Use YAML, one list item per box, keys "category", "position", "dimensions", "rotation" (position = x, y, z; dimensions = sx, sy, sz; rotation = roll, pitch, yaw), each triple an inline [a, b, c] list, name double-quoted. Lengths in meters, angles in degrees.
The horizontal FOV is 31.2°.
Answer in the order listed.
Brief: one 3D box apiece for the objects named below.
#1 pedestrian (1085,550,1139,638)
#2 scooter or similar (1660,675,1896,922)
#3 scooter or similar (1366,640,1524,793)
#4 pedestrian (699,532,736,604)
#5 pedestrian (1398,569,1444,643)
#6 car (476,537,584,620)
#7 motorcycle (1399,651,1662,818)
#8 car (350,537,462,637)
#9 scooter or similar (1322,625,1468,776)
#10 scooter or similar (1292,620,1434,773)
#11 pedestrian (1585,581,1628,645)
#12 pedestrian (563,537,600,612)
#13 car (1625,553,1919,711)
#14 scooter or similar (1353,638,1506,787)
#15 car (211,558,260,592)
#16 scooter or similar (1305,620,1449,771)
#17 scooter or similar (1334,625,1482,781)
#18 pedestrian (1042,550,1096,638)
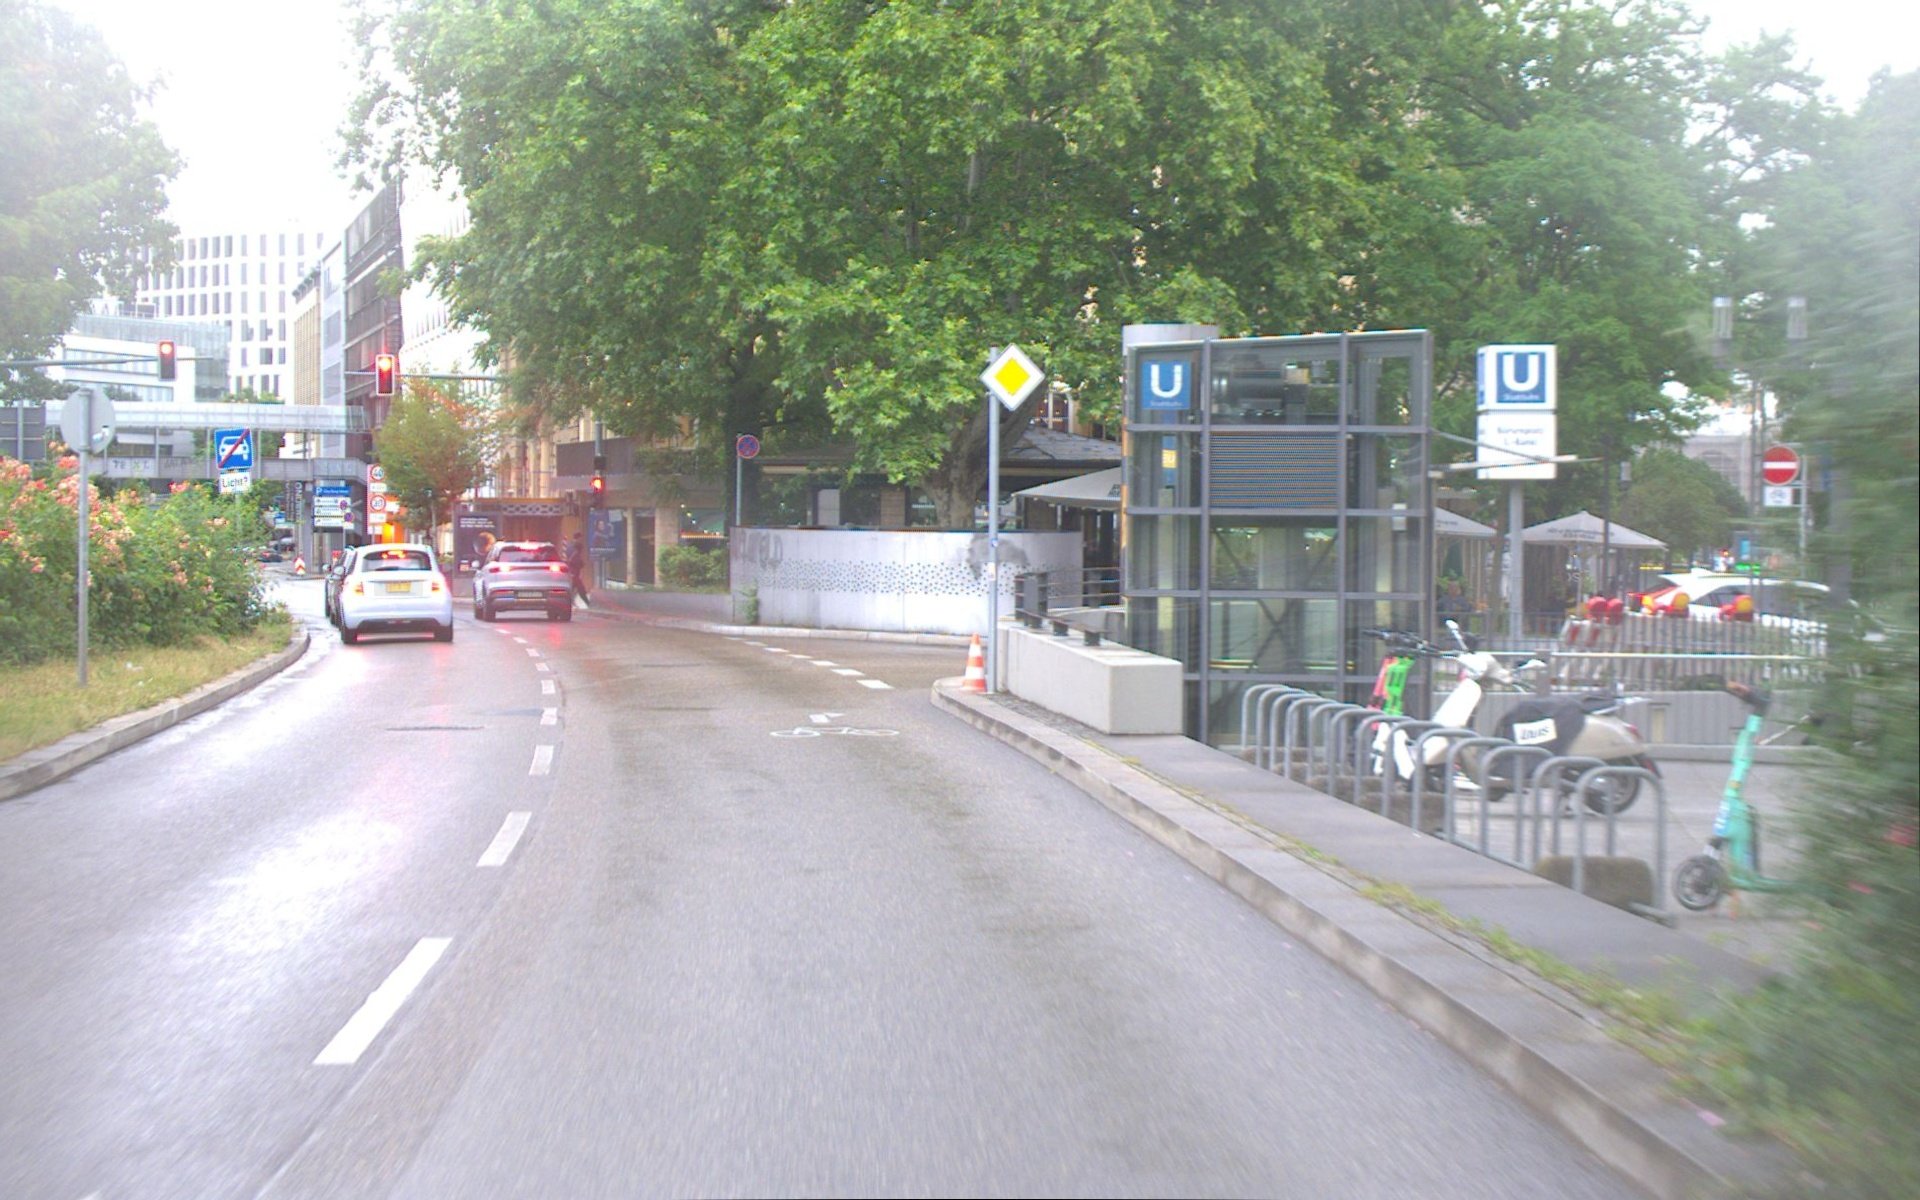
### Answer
- category: "pedestrian"
  position: [2.506, -0.102, 56.764]
  dimensions: [0.684, 1.405, 0.905]
  rotation: [3, 0, -6]
- category: "scooter or similar"
  position: [4.361, 1.053, 18.338]
  dimensions: [1.090, 1.267, 0.481]
  rotation: [1, 1, -16]
- category: "scooter or similar"
  position: [3.831, 0.918, 27.194]
  dimensions: [1.112, 1.154, 0.532]
  rotation: [1, 1, -6]
- category: "pedestrian"
  position: [-6.042, -0.786, 85.564]
  dimensions: [0.858, 1.774, 0.718]
  rotation: [0, 0, -8]
- category: "pedestrian"
  position: [9.068, 0.116, 67.580]
  dimensions: [0.607, 1.407, 0.630]
  rotation: [3, 0, -19]
- category: "car"
  position: [-9.088, -0.467, 72.461]
  dimensions: [1.946, 1.660, 4.346]
  rotation: [1, 0, -11]
- category: "motorcycle"
  position: [4.193, 0.983, 25.304]
  dimensions: [1.776, 1.154, 0.607]
  rotation: [1, 1, -6]
- category: "car"
  position: [-8.729, -0.227, 53.978]
  dimensions: [1.590, 1.486, 3.506]
  rotation: [-1, 1, -11]
- category: "scooter or similar"
  position: [3.605, 0.831, 28.529]
  dimensions: [1.112, 1.212, 0.365]
  rotation: [1, 1, -6]
- category: "scooter or similar"
  position: [3.441, 0.818, 29.372]
  dimensions: [1.112, 1.265, 0.365]
  rotation: [1, 1, -6]
- category: "pedestrian"
  position: [12.967, 0.267, 68.956]
  dimensions: [0.628, 1.246, 0.609]
  rotation: [3, 0, -6]
- category: "pedestrian"
  position: [-9.054, -0.612, 82.153]
  dimensions: [0.858, 1.774, 0.718]
  rotation: [0, 0, -8]
- category: "car"
  position: [10.148, 0.405, 41.127]
  dimensions: [4.098, 1.615, 1.862]
  rotation: [4, 0, 8]
- category: "scooter or similar"
  position: [3.779, 0.901, 27.705]
  dimensions: [1.112, 1.154, 0.443]
  rotation: [1, 1, -6]
- category: "car"
  position: [-32.872, -1.139, 155.990]
  dimensions: [1.978, 1.458, 4.347]
  rotation: [-2, 1, -14]
- category: "scooter or similar"
  position: [3.509, 0.803, 28.951]
  dimensions: [1.112, 1.230, 0.365]
  rotation: [1, 1, -6]
- category: "scooter or similar"
  position: [3.661, 0.838, 28.126]
  dimensions: [1.112, 1.233, 0.365]
  rotation: [1, 1, -6]
- category: "pedestrian"
  position: [1.794, -0.105, 56.642]
  dimensions: [0.684, 1.405, 0.905]
  rotation: [3, 0, -6]
